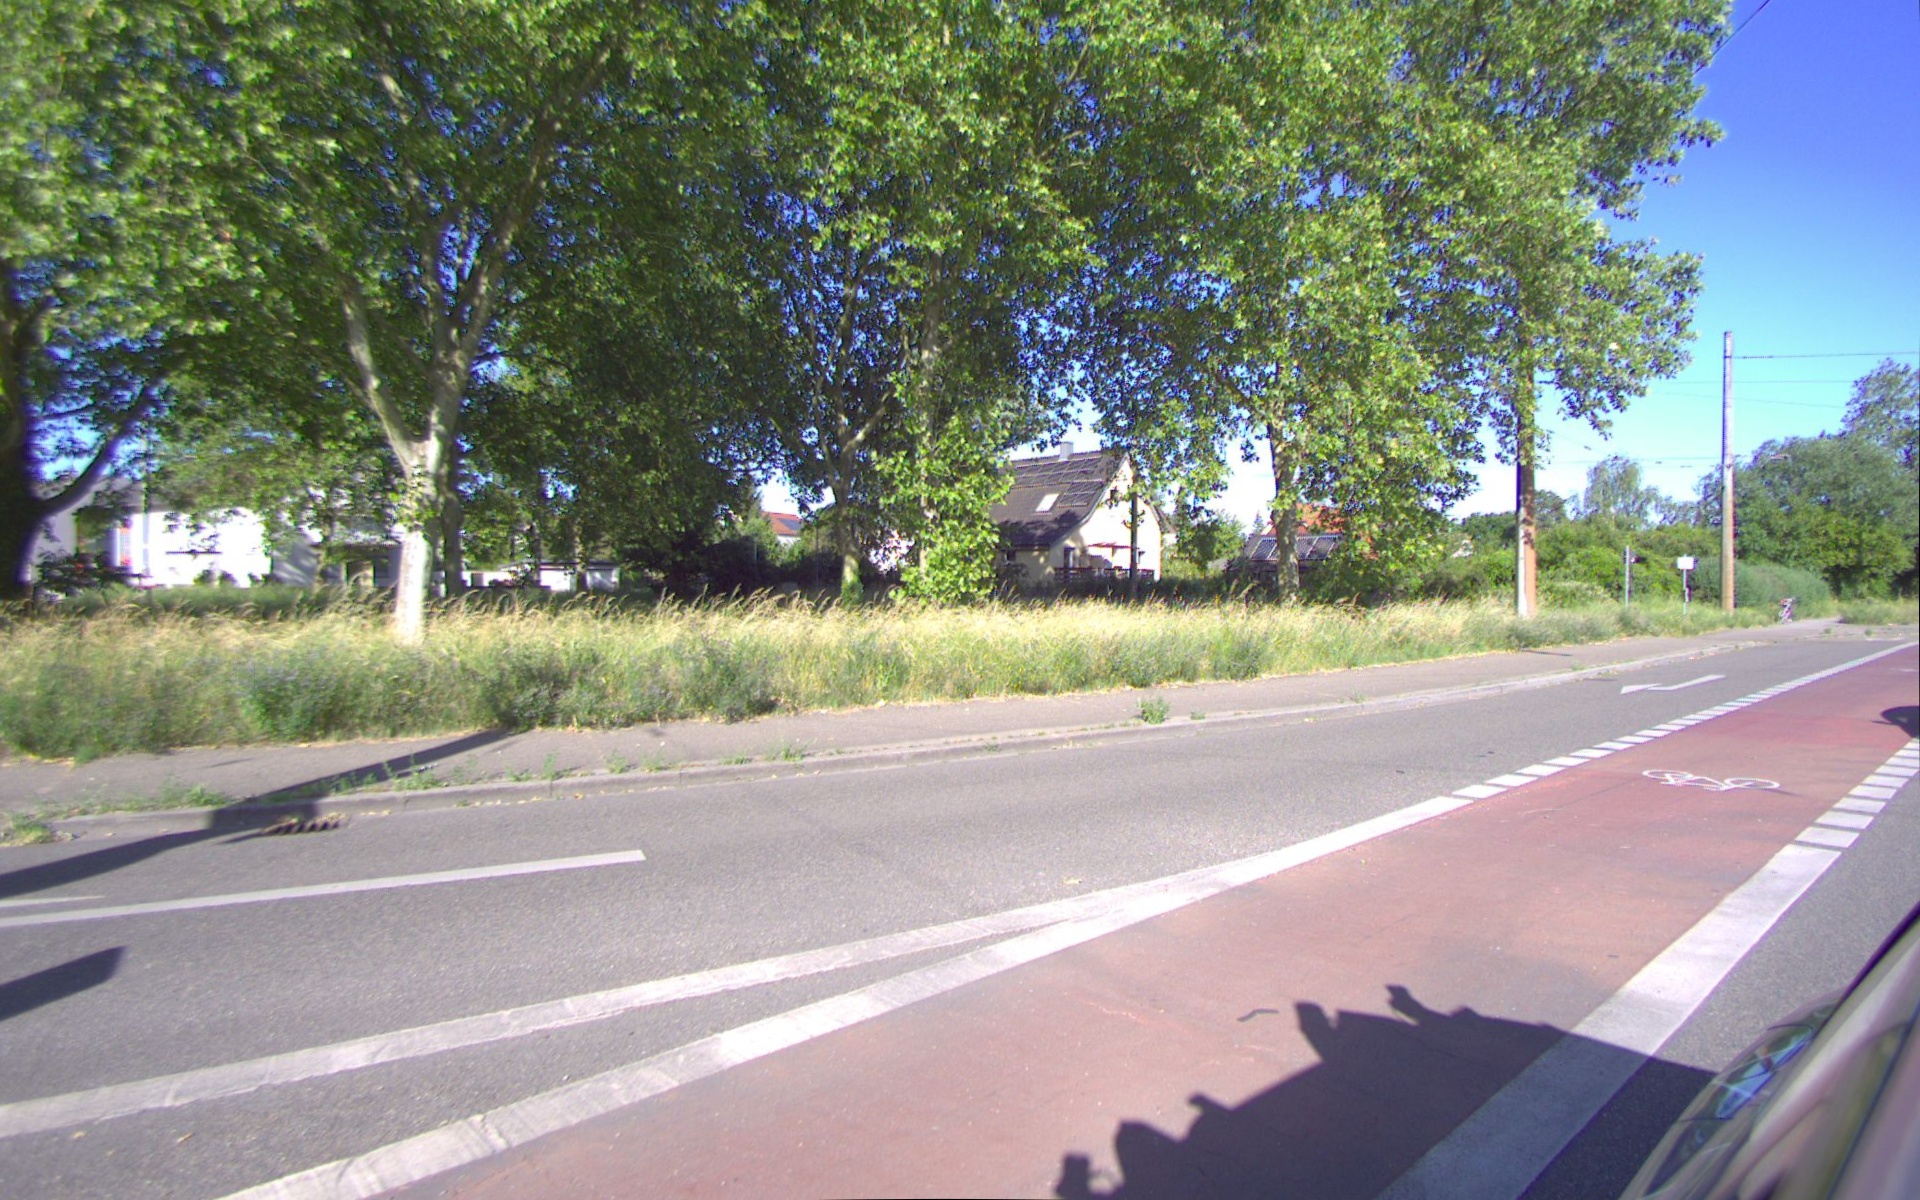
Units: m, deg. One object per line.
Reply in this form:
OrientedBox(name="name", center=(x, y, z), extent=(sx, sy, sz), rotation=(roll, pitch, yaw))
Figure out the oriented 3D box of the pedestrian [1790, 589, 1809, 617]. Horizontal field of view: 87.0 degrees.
OrientedBox(name="pedestrian", center=(31.582, 0.110, 38.069), extent=(0.446, 1.046, 0.482), rotation=(0, 1, -41))
